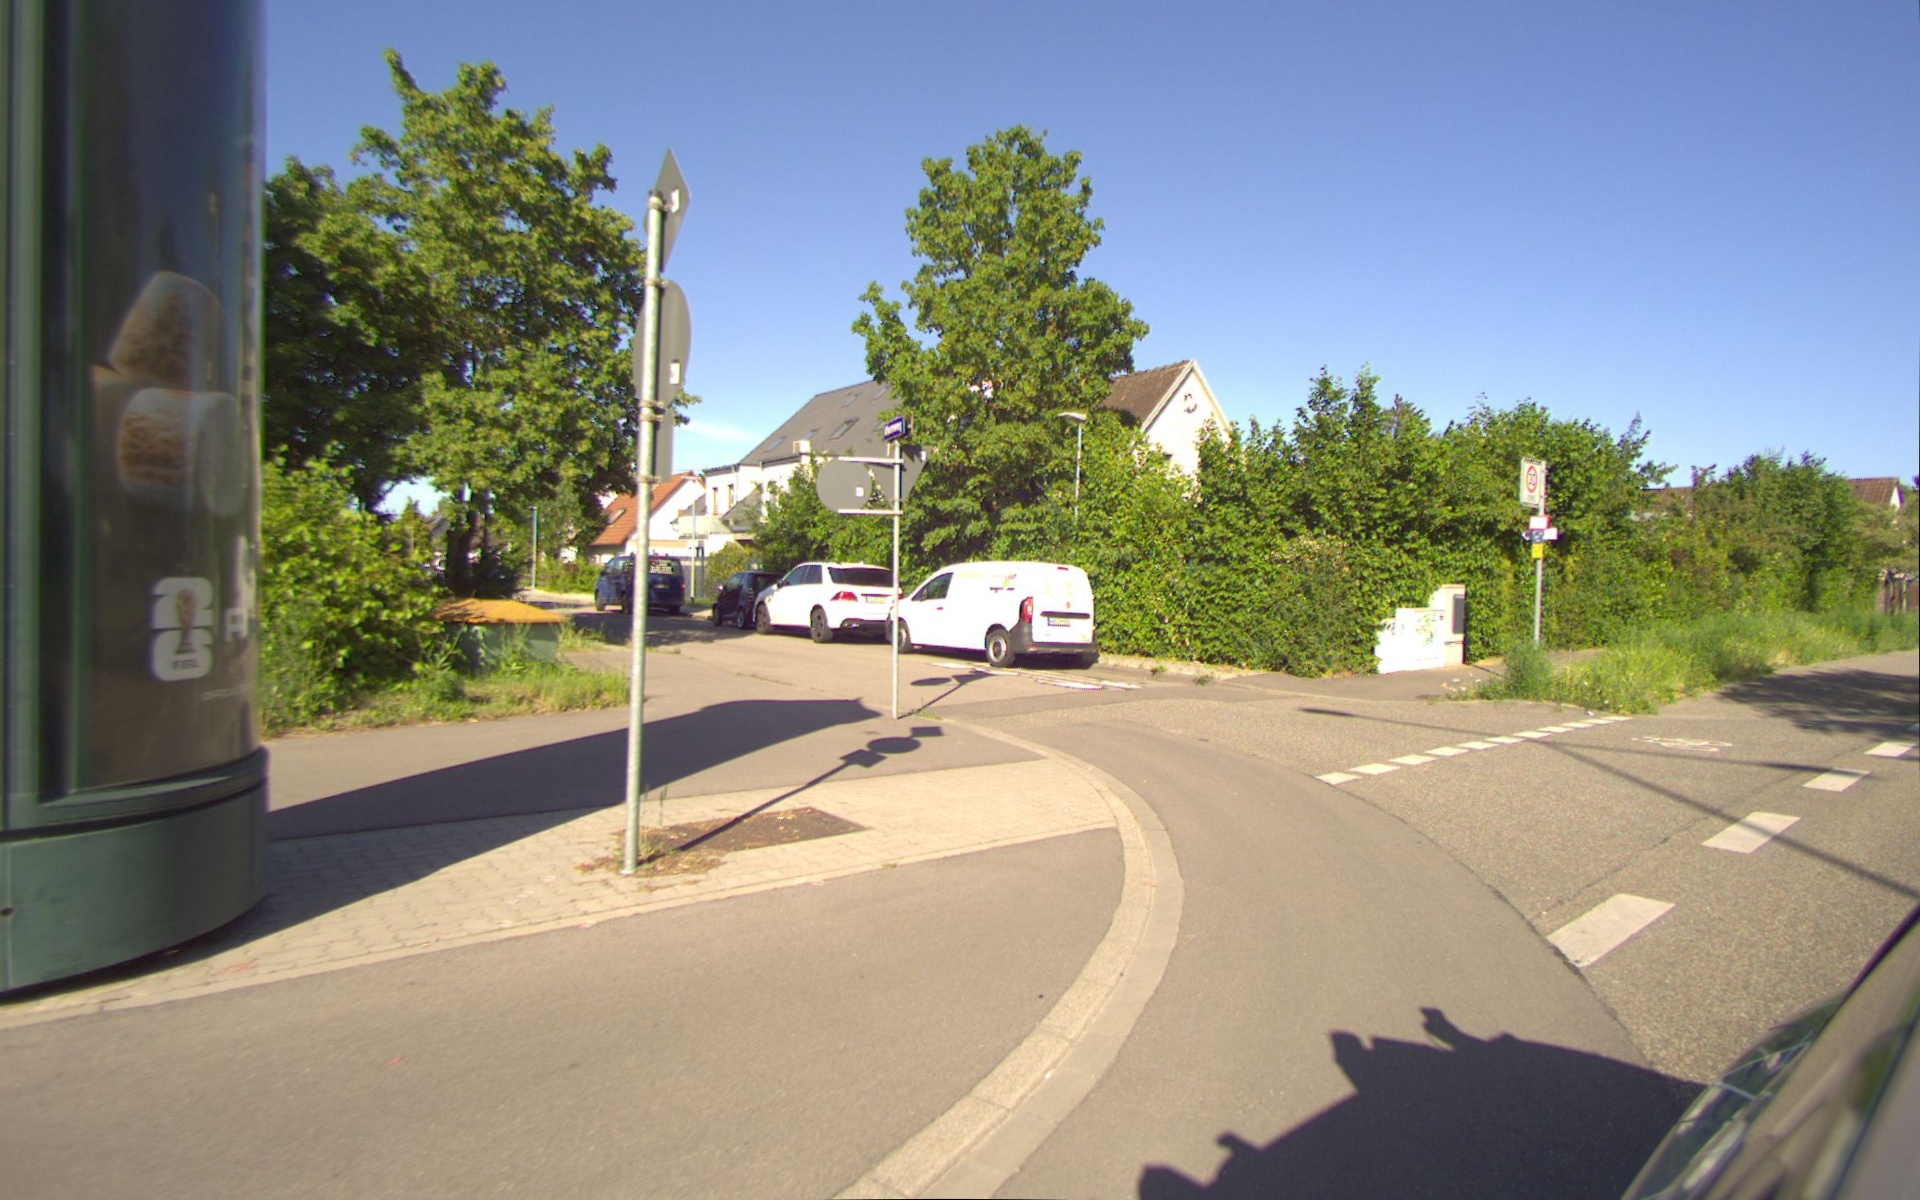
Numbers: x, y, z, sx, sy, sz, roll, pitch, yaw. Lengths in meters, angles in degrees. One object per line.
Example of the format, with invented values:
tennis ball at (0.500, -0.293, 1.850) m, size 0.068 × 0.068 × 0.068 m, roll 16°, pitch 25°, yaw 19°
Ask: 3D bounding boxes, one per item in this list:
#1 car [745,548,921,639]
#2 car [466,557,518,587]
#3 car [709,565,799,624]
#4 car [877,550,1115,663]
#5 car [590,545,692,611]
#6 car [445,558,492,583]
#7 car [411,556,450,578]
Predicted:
car at (-3.034, -0.184, 23.385) m, size 2.032 × 1.892 × 4.531 m, roll 2°, pitch 0°, yaw -37°
car at (-25.271, -1.527, 54.570) m, size 1.775 × 1.413 × 3.830 m, roll 2°, pitch 3°, yaw -37°
car at (-5.599, -0.167, 27.397) m, size 1.511 × 1.508 × 2.353 m, roll 2°, pitch 0°, yaw -37°
car at (0.514, 0.059, 18.816) m, size 1.896 × 1.824 × 4.645 m, roll 2°, pitch 0°, yaw -37°
car at (-10.937, -0.766, 34.532) m, size 1.949 × 2.071 × 4.392 m, roll 2°, pitch 0°, yaw -37°
car at (-28.852, -1.749, 59.318) m, size 1.775 × 1.364 × 3.828 m, roll 2°, pitch 0°, yaw -37°
car at (-36.097, -2.252, 68.959) m, size 1.775 × 1.364 × 3.828 m, roll 2°, pitch 0°, yaw -37°
